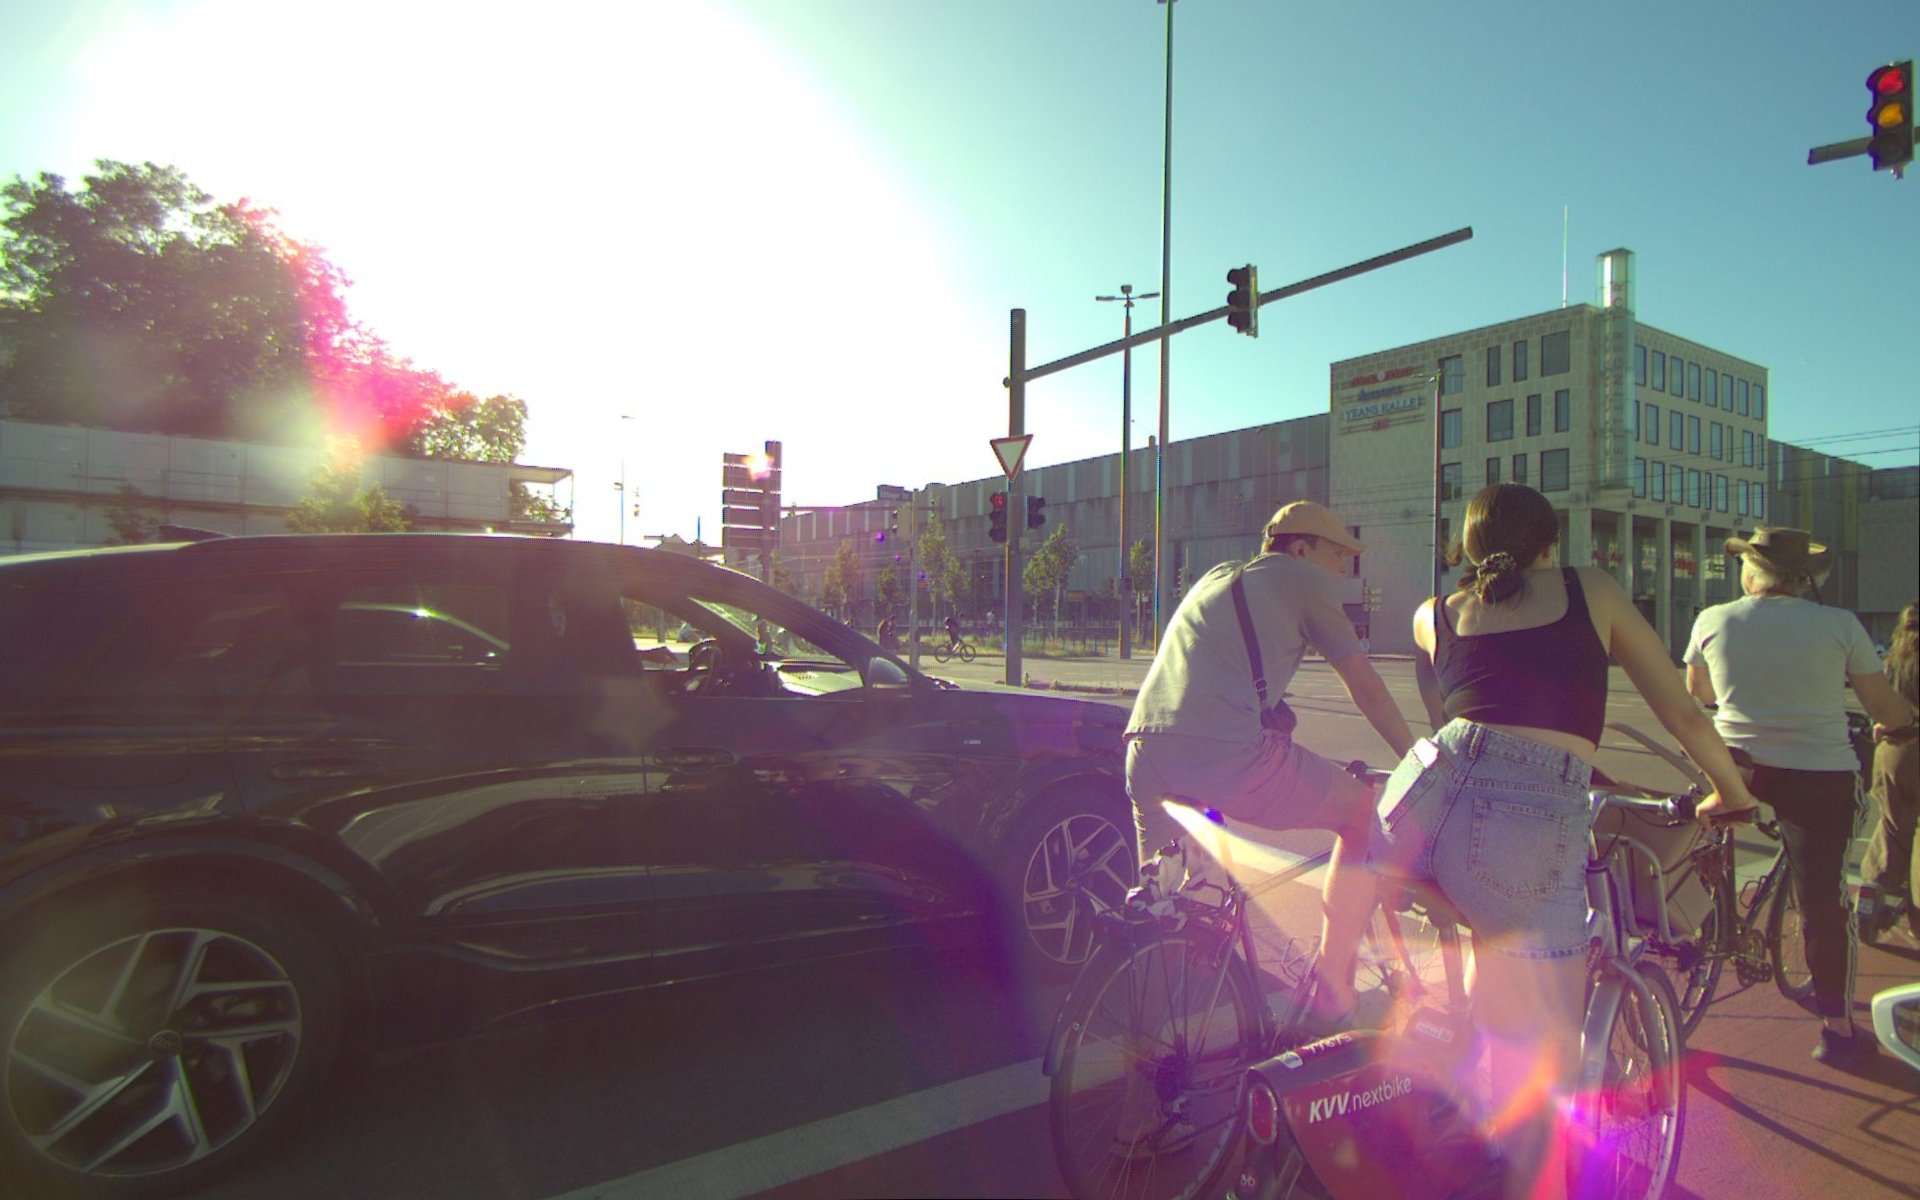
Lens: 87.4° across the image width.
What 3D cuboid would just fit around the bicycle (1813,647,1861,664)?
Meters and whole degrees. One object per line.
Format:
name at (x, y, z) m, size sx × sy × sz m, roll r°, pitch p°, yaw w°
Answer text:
bicycle at (61.253, 3.880, 70.211) m, size 0.652 × 1.125 × 2.458 m, roll 1°, pitch -2°, yaw -28°

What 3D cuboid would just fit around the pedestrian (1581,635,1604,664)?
pedestrian at (35.599, 2.775, 56.516) m, size 0.927 × 1.592 × 0.841 m, roll 1°, pitch -1°, yaw 20°

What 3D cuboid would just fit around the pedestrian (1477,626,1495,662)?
pedestrian at (32.234, 2.682, 61.534) m, size 0.883 × 2.152 × 0.944 m, roll 0°, pitch -1°, yaw 34°

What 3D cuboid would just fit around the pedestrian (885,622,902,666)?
pedestrian at (-2.430, 1.600, 36.872) m, size 0.446 × 1.587 × 0.516 m, roll 1°, pitch -1°, yaw -30°

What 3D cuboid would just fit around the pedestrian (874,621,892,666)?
pedestrian at (-2.716, 1.538, 35.600) m, size 0.446 × 1.587 × 0.516 m, roll 1°, pitch -1°, yaw -30°

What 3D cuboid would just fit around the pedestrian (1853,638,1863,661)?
pedestrian at (79.993, 4.379, 89.495) m, size 0.475 × 2.040 × 0.610 m, roll 2°, pitch 0°, yaw -44°

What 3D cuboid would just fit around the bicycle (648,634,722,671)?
bicycle at (-7.892, 1.499, 28.889) m, size 2.042 × 0.991 × 0.803 m, roll 0°, pitch 0°, yaw -15°

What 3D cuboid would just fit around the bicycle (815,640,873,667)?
bicycle at (-4.333, 1.992, 37.546) m, size 2.056 × 0.939 × 0.797 m, roll 0°, pitch -1°, yaw -35°

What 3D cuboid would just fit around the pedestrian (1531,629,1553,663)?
pedestrian at (35.798, 2.811, 61.806) m, size 1.016 × 2.040 × 0.906 m, roll 2°, pitch -1°, yaw -42°

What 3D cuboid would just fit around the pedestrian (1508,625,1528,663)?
pedestrian at (32.451, 2.553, 58.420) m, size 0.881 × 2.152 × 0.947 m, roll 0°, pitch -1°, yaw 22°

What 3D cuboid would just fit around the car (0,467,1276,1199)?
car at (-1.164, 0.607, 4.094) m, size 4.740 × 1.684 × 2.182 m, roll 2°, pitch -1°, yaw -33°

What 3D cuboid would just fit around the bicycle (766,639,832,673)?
bicycle at (-5.058, 1.744, 31.617) m, size 1.951 × 1.010 × 0.645 m, roll 1°, pitch -1°, yaw -24°

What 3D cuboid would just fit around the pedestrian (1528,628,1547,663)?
pedestrian at (34.279, 2.696, 59.644) m, size 0.900 × 2.040 × 1.023 m, roll 0°, pitch -1°, yaw 25°

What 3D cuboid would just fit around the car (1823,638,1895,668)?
car at (49.837, 2.908, 55.672) m, size 4.247 × 1.602 × 1.927 m, roll 1°, pitch -2°, yaw -32°

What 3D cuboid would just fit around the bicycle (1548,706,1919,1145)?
bicycle at (2.928, 0.987, 3.577) m, size 1.780 × 1.108 × 0.703 m, roll 1°, pitch -1°, yaw -32°

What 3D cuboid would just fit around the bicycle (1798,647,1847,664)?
bicycle at (59.052, 3.802, 68.790) m, size 0.652 × 1.125 × 2.458 m, roll 1°, pitch -2°, yaw -28°

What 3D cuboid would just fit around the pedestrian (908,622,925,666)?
pedestrian at (-1.572, 1.579, 36.259) m, size 0.446 × 1.587 × 0.516 m, roll 1°, pitch -1°, yaw -30°

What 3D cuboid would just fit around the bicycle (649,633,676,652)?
bicycle at (-15.434, 2.183, 52.104) m, size 0.797 × 0.939 × 2.058 m, roll 0°, pitch -1°, yaw -33°

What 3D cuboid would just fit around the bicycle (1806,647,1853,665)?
bicycle at (60.198, 3.857, 69.566) m, size 0.623 × 1.125 × 2.458 m, roll 1°, pitch -2°, yaw -28°

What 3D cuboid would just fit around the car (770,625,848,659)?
car at (-6.782, 1.840, 44.856) m, size 1.980 × 1.394 × 3.962 m, roll 0°, pitch -1°, yaw -34°

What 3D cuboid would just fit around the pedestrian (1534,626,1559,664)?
pedestrian at (33.857, 2.595, 58.005) m, size 1.042 × 2.157 × 1.098 m, roll 1°, pitch -1°, yaw 18°

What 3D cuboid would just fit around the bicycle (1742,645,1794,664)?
bicycle at (50.338, 3.398, 62.609) m, size 0.675 × 1.125 × 2.458 m, roll 1°, pitch -2°, yaw -28°

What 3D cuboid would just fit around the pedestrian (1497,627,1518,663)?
pedestrian at (33.080, 2.703, 60.713) m, size 0.940 × 2.152 × 0.887 m, roll 2°, pitch -1°, yaw -43°

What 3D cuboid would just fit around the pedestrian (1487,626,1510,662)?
pedestrian at (32.114, 2.611, 59.903) m, size 0.939 × 2.152 × 0.888 m, roll 2°, pitch -1°, yaw -41°

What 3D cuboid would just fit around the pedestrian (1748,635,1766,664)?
pedestrian at (56.291, 3.457, 70.982) m, size 0.933 × 2.008 × 1.004 m, roll 0°, pitch -1°, yaw 36°

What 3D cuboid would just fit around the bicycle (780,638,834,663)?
bicycle at (-6.022, 1.985, 39.498) m, size 2.042 × 0.939 × 0.803 m, roll 0°, pitch 0°, yaw -14°

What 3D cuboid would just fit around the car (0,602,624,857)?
car at (-4.782, 0.740, 6.800) m, size 4.476 × 1.370 × 1.761 m, roll 2°, pitch -1°, yaw -32°

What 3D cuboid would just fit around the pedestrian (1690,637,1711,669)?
pedestrian at (40.875, 2.929, 55.435) m, size 0.748 × 1.763 × 0.746 m, roll 1°, pitch -1°, yaw -32°

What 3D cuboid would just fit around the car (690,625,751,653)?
car at (-13.133, 2.109, 54.894) m, size 1.980 × 1.394 × 3.962 m, roll 0°, pitch -1°, yaw -34°

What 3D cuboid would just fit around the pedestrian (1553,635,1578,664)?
pedestrian at (35.309, 2.884, 58.560) m, size 0.987 × 1.672 × 0.949 m, roll 1°, pitch -1°, yaw 14°

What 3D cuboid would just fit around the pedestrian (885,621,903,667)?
pedestrian at (-2.305, 1.546, 35.164) m, size 0.446 × 1.587 × 0.516 m, roll 1°, pitch -1°, yaw -30°
